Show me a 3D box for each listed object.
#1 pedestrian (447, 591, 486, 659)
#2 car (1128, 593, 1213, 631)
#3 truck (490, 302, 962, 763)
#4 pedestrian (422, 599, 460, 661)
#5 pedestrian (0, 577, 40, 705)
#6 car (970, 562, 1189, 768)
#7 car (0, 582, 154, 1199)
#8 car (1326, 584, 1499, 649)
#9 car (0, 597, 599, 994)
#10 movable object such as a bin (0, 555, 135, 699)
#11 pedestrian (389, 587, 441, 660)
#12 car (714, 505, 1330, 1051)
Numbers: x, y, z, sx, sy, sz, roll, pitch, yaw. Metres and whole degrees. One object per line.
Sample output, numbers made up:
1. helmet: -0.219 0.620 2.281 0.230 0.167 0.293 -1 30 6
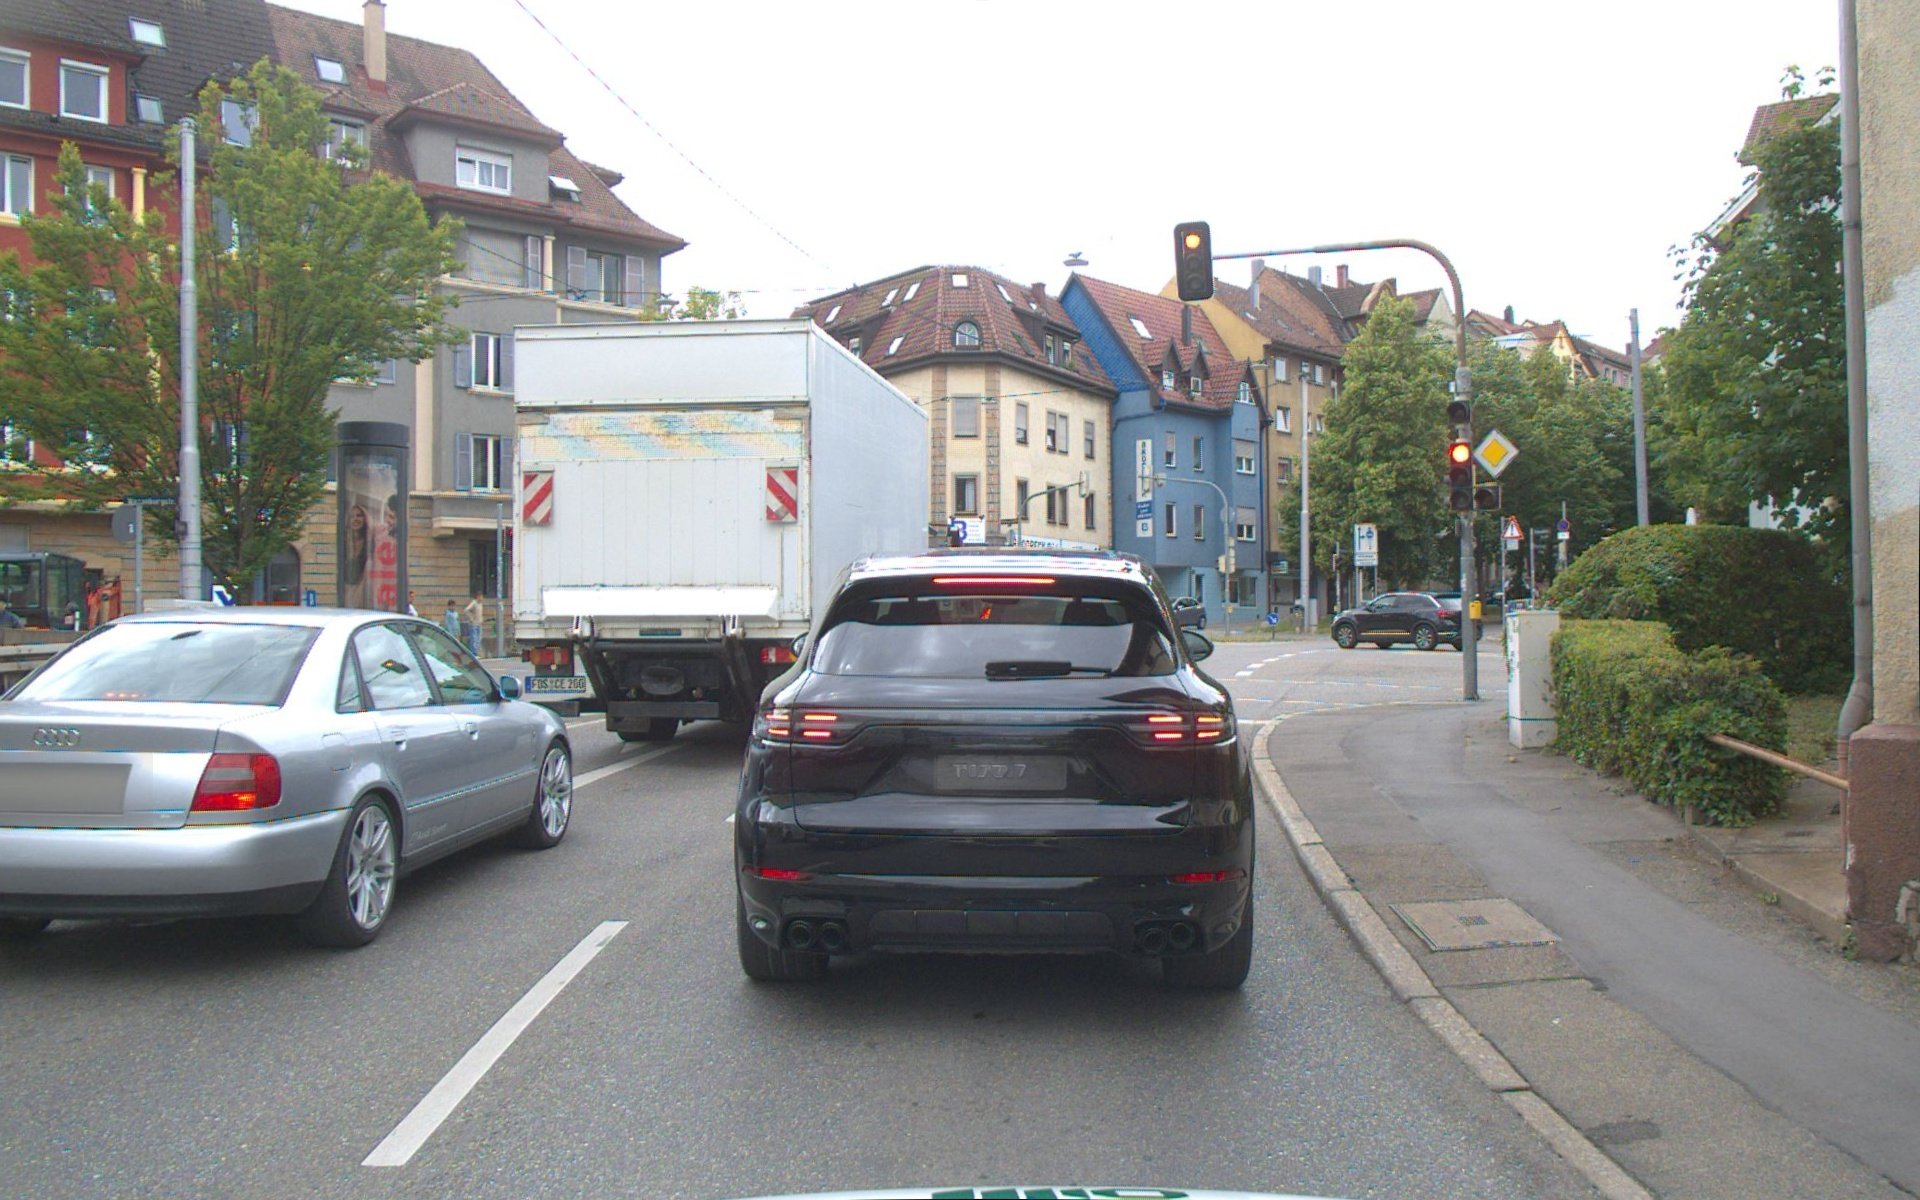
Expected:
1. pedestrian: -11.133 0.556 37.296 0.513 1.513 0.651 0 0 36
2. car: 9.108 0.546 71.254 1.690 1.502 4.197 0 -2 39
3. truck: -1.877 -0.540 17.305 2.667 3.606 8.428 -1 0 8
4. pedestrian: -11.534 0.654 36.765 0.563 1.361 0.583 -1 0 29
5. pedestrian: -12.616 0.534 21.843 0.678 1.665 0.774 -1 0 -21
6. car: 1.176 0.518 14.779 1.613 1.583 3.586 1 0 9
7. car: -2.711 0.718 1.173 1.953 1.454 4.841 -1 0 -1
8. car: 11.765 0.403 43.188 1.979 1.556 3.946 1 1 -38
9. car: -3.105 0.701 7.976 1.594 1.389 4.130 -1 0 3
10. movable object such as a bin: -13.950 0.381 25.474 1.351 2.049 3.525 -1 0 -12
11. pedestrian: -11.933 0.508 36.210 0.776 1.573 0.738 -1 0 26
12. car: 0.176 0.586 7.656 1.990 1.753 4.499 1 0 -1
